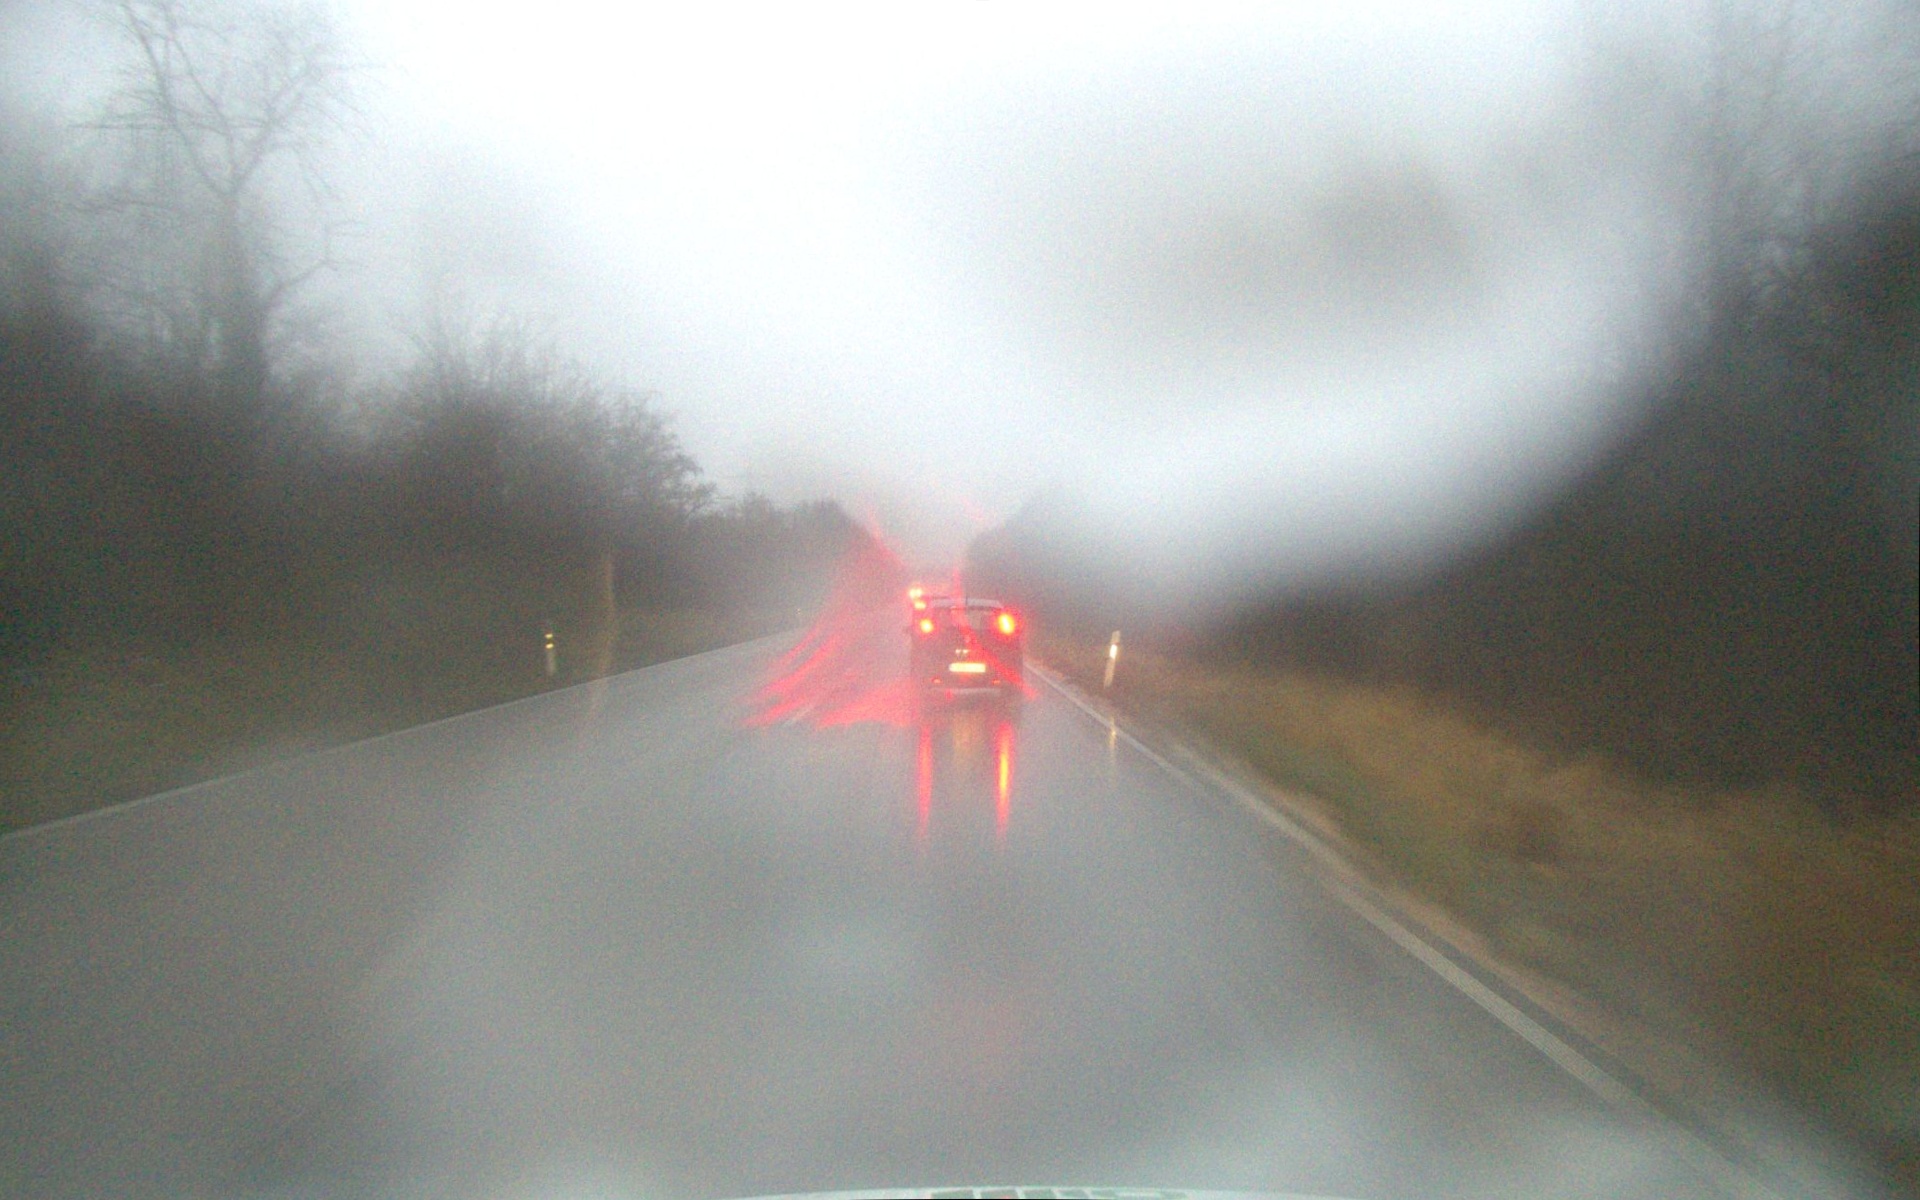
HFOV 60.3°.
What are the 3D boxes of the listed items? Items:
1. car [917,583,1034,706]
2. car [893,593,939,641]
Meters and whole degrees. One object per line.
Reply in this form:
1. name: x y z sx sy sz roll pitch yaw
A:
1. car: 0.193 0.629 25.037 1.614 1.701 3.513 1 0 -1
2. car: -1.716 0.643 64.847 1.698 1.810 3.999 1 0 -1
